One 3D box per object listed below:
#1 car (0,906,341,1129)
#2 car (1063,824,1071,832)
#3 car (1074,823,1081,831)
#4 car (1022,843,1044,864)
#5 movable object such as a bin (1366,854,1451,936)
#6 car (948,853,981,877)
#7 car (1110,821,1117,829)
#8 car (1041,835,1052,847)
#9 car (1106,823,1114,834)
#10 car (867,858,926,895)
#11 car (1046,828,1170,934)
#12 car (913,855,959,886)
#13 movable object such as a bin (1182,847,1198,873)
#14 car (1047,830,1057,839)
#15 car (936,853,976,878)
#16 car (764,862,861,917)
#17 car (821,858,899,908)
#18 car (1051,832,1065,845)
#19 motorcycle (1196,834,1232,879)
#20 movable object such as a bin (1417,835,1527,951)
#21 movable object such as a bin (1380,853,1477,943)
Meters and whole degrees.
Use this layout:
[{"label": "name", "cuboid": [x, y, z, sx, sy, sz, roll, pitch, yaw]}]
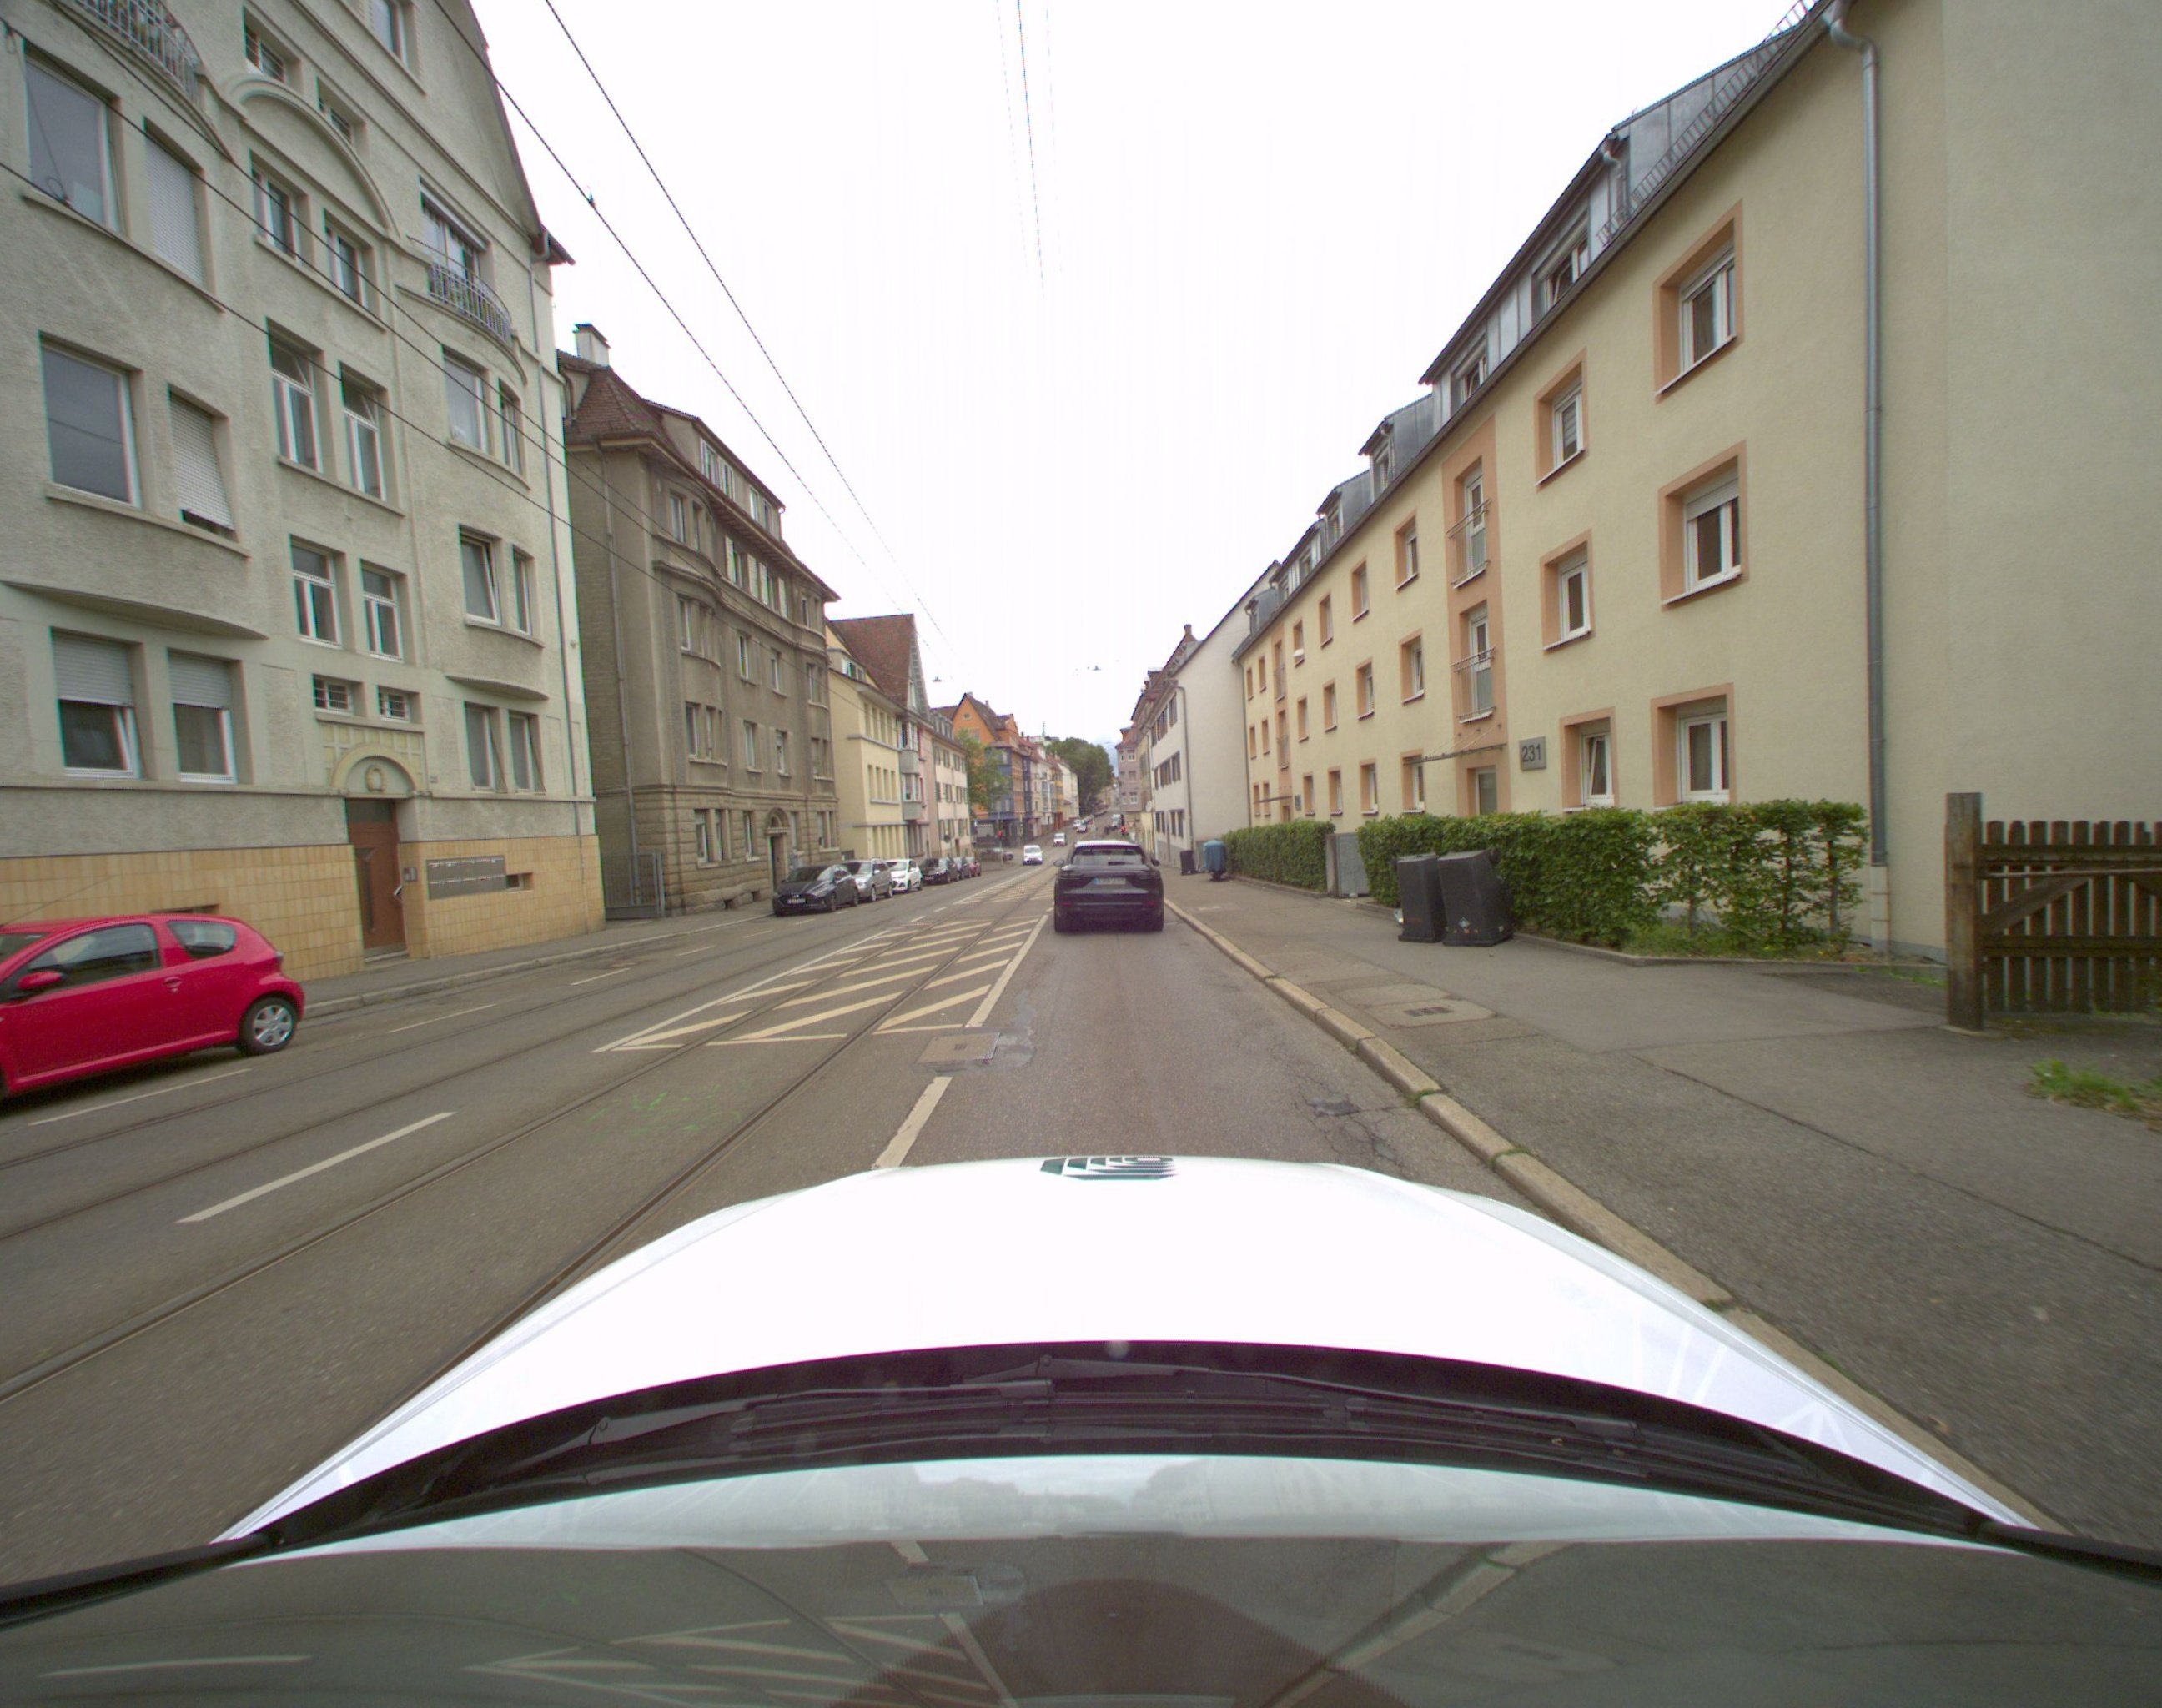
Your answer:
[{"label": "car", "cuboid": [-8.651, 1.314, 6.769, 1.617, 1.463, 3.741, -4, -1, -3]}, {"label": "car", "cuboid": [-2.766, -5.219, 163.501, 1.389, 1.450, 3.360, -3, 0, 2]}, {"label": "car", "cuboid": [-0.692, -6.000, 180.241, 1.389, 1.450, 3.360, -3, 0, 2]}, {"label": "car", "cuboid": [-4.496, -0.015, 77.030, 1.916, 1.818, 4.213, -3, 0, -3]}, {"label": "movable object such as a bin", "cuboid": [4.363, 0.527, 10.892, 0.789, 1.012, 0.790, -3, 0, 3]}, {"label": "car", "cuboid": [-7.965, 0.759, 55.883, 1.616, 1.490, 4.046, -4, -1, 0]}, {"label": "car", "cuboid": [6.708, -6.030, 168.455, 1.389, 1.450, 3.360, -3, 0, 2]}, {"label": "car", "cuboid": [-5.507, -2.056, 129.590, 1.389, 1.722, 3.360, -3, 0, 2]}, {"label": "car", "cuboid": [5.092, -4.499, 142.674, 1.389, 1.722, 3.360, -3, 0, 2]}, {"label": "car", "cuboid": [-8.117, 0.952, 36.133, 1.615, 1.463, 3.686, -4, -1, 1]}, {"label": "car", "cuboid": [0.482, 0.459, 15.743, 1.987, 1.676, 4.000, -3, 0, 0]}, {"label": "car", "cuboid": [-7.812, 0.880, 44.365, 1.616, 1.473, 4.554, -4, -1, 0]}, {"label": "movable object such as a bin", "cuboid": [4.684, 0.239, 35.028, 0.586, 1.080, 0.692, -3, 0, 3]}, {"label": "car", "cuboid": [-5.007, -3.402, 142.459, 1.389, 1.450, 3.360, -3, 0, 2]}, {"label": "car", "cuboid": [-7.721, 0.694, 50.594, 1.730, 1.410, 4.001, -3, 0, 1]}, {"label": "car", "cuboid": [-8.251, 1.033, 25.385, 1.616, 1.463, 4.032, -4, -1, 0]}, {"label": "car", "cuboid": [-8.105, 1.014, 30.237, 1.616, 1.604, 4.350, -4, -1, 0]}, {"label": "car", "cuboid": [-3.398, -2.268, 120.522, 1.744, 1.759, 4.255, -3, 0, 2]}, {"label": "motorcycle", "cuboid": [4.560, 0.075, 28.164, 0.835, 1.456, 2.554, -3, 0, 2]}, {"label": "movable object such as a bin", "cuboid": [4.416, 0.420, 9.251, 0.790, 1.218, 0.788, -3, 0, -3]}, {"label": "movable object such as a bin", "cuboid": [4.270, 0.522, 10.057, 0.790, 1.012, 0.788, -3, 0, -3]}]
